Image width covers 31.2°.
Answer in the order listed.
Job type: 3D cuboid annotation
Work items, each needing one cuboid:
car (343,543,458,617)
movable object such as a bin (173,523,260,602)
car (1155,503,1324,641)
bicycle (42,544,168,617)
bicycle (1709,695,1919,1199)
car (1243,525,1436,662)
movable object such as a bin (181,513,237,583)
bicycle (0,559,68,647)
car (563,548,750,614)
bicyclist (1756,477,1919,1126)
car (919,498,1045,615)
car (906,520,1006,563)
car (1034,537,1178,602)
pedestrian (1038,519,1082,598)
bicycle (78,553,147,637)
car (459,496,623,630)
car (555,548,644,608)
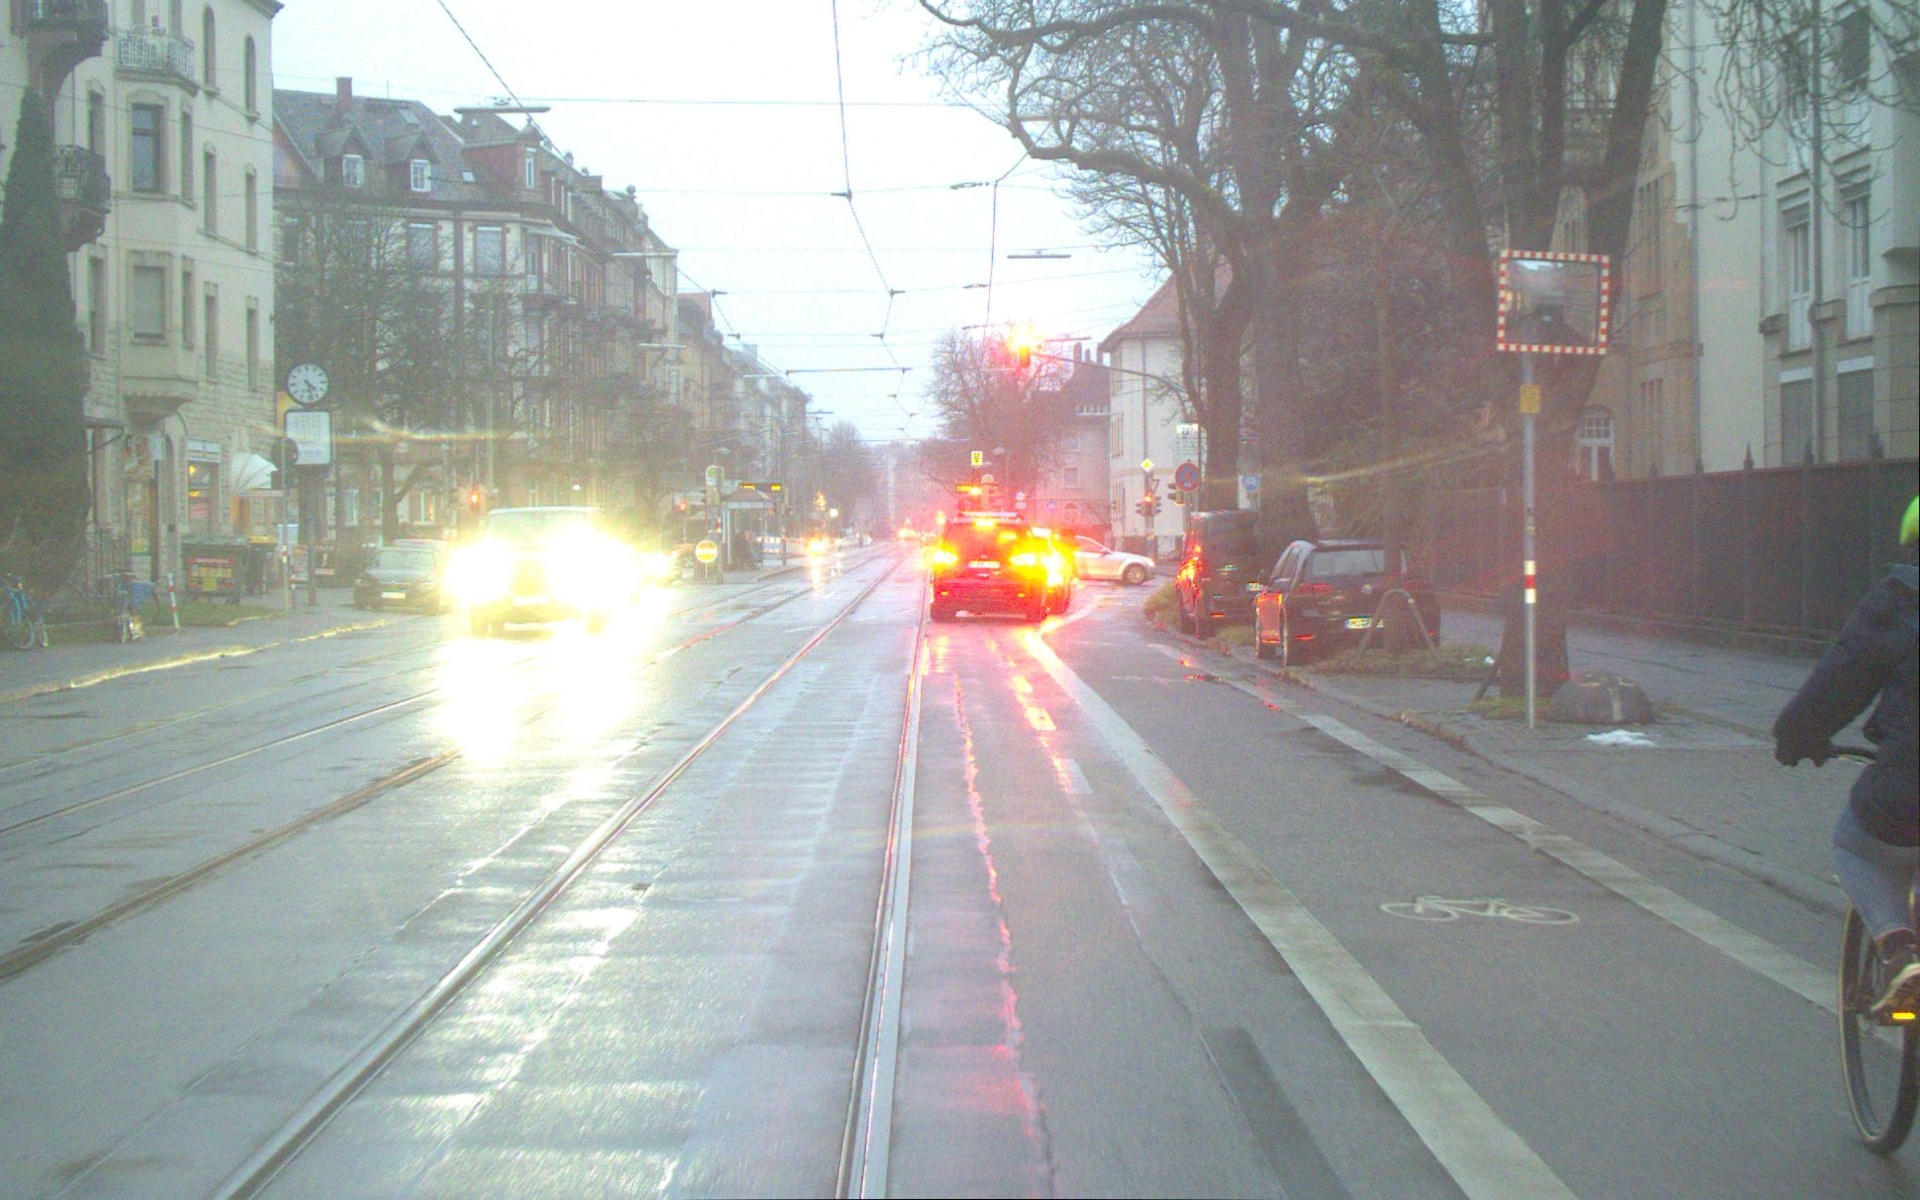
[{"bbox_3d":[-12.036,-0.448,74.163,1.833,1.442,4.001,-1,2,0],"label":"car"},{"bbox_3d":[-14.828,-0.756,68.598,1.409,1.525,1.365,-1,2,0],"label":"movable object such as a bin"},{"bbox_3d":[4.116,-0.464,51.353,1.993,1.894,5.028,-1,2,-1],"label":"car"},{"bbox_3d":[-13.242,-0.307,53.271,1.804,1.077,0.616,-1,2,-7],"label":"bicycle"},{"bbox_3d":[2.301,0.836,8.088,0.707,1.093,2.029,-1,2,2],"label":"bicycle"},{"bbox_3d":[4.319,-0.116,39.640,1.677,1.455,4.043,-1,2,-1],"label":"car"},{"bbox_3d":[-17.383,-1.205,79.586,1.014,1.595,1.081,-1,2,2],"label":"movable object such as a bin"},{"bbox_3d":[-11.390,0.026,41.848,0.625,1.014,1.806,-2,2,-2],"label":"bicycle"},{"bbox_3d":[-8.473,-0.535,96.185,4.946,1.711,1.697,-1,2,5],"label":"car"},{"bbox_3d":[2.284,0.433,8.055,0.656,1.441,0.849,-1,2,2],"label":"bicyclist"},{"bbox_3d":[0.334,-0.727,58.850,1.993,1.890,4.759,1,0,-1],"label":"car"},{"bbox_3d":[-0.178,-2.499,145.990,3.986,1.711,1.904,-1,2,-8],"label":"car"},{"bbox_3d":[4.095,-0.860,97.003,3.987,1.722,1.740,-1,2,1],"label":"car"},{"bbox_3d":[2.552,-1.068,88.123,1.022,2.006,0.919,-1,2,-3],"label":"pedestrian"},{"bbox_3d":[-11.527,-0.082,46.779,0.614,1.077,1.811,-1,2,-5],"label":"bicycle"},{"bbox_3d":[-6.414,-0.619,53.091,2.046,1.915,5.101,-1,2,-2],"label":"car"},{"bbox_3d":[-7.927,-0.498,75.819,1.660,1.194,3.875,-1,2,-2],"label":"car"}]
